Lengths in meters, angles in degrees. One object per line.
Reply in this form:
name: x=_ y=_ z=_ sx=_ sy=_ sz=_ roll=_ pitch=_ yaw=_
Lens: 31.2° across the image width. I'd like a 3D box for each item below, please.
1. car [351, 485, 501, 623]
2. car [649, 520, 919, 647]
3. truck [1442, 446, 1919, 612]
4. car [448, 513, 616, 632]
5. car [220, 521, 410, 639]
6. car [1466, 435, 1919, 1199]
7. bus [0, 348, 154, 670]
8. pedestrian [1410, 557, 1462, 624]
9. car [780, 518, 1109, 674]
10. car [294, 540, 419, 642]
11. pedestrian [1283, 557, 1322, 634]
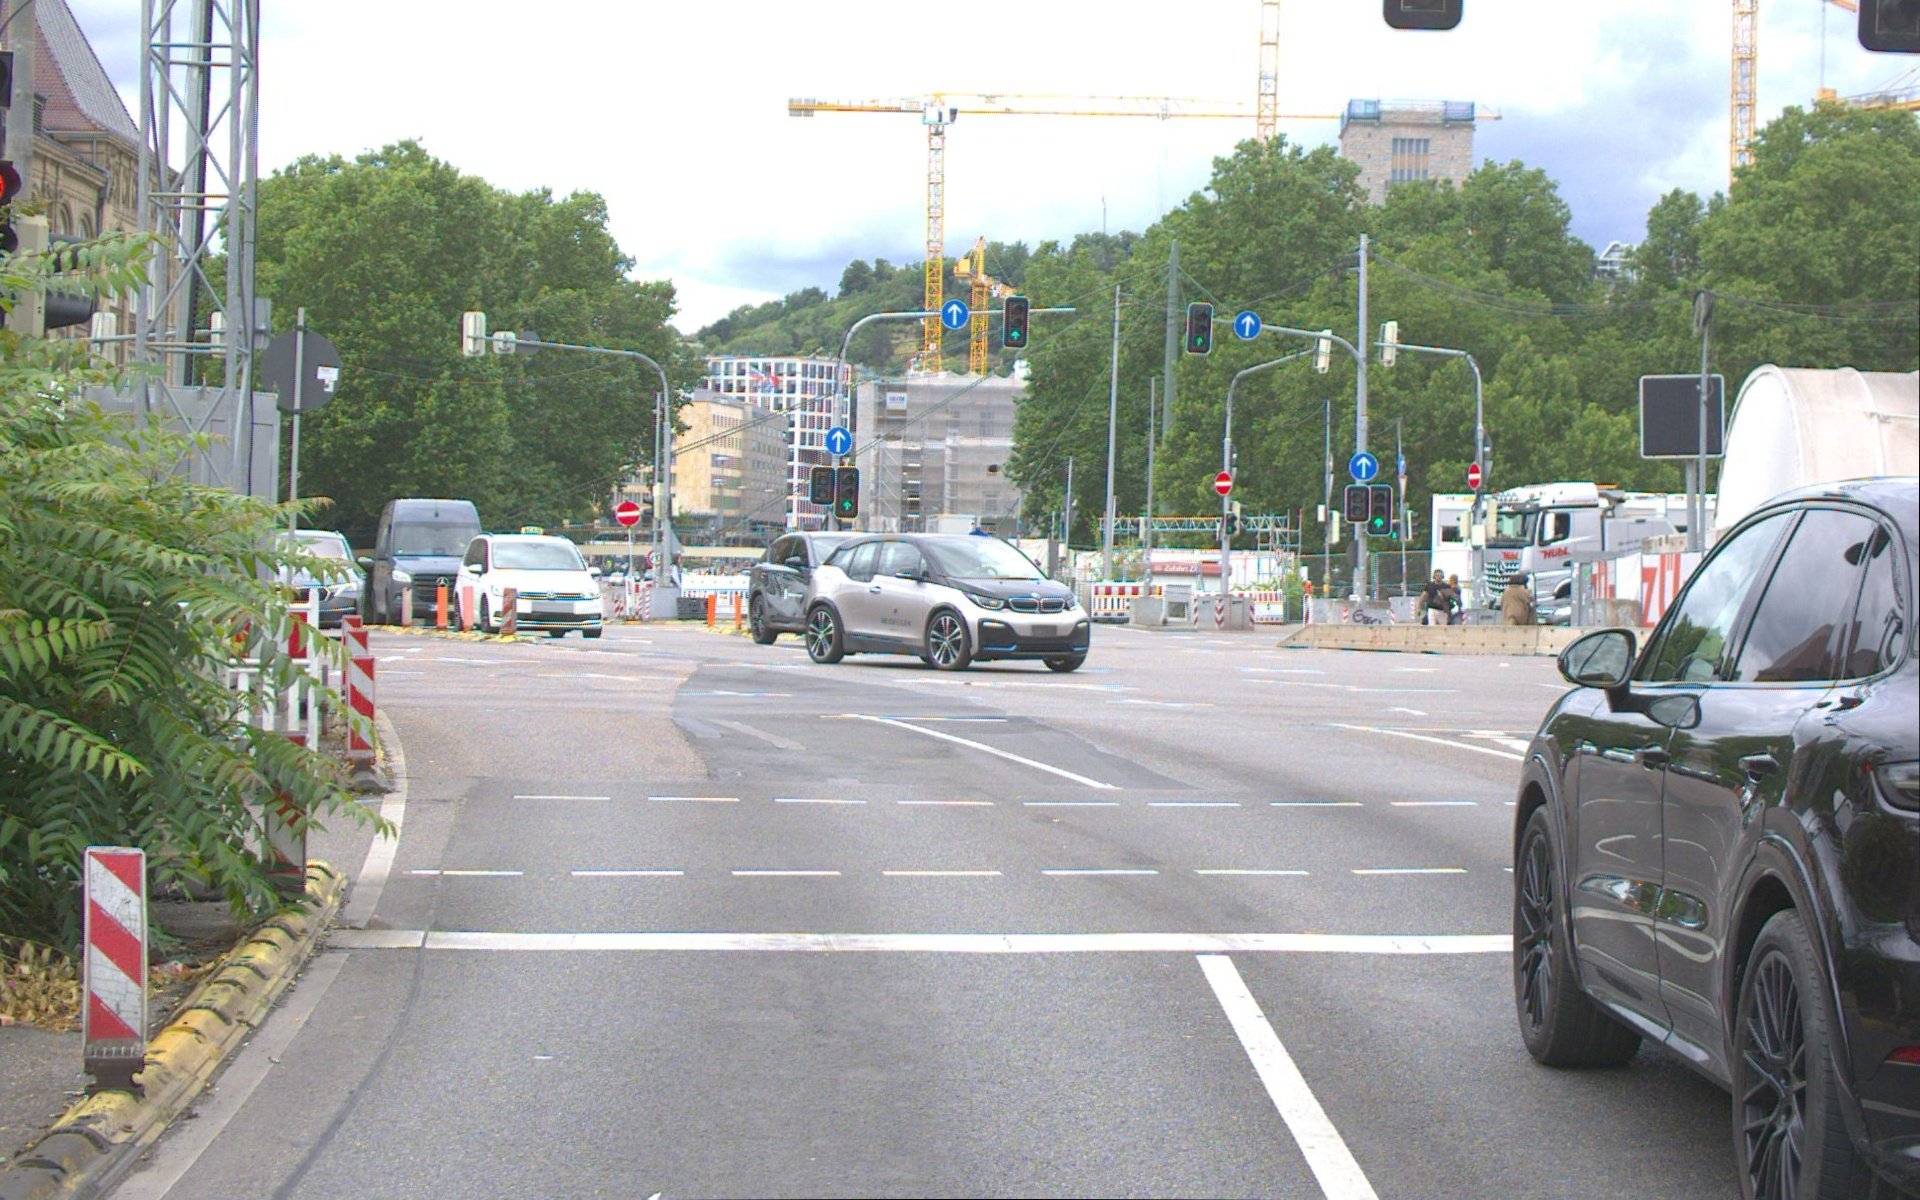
car: x=-10.662 y=-0.943 z=68.317 sx=2.056 sy=2.585 sz=6.016 roll=1 pitch=1 yaw=-17
car: x=-2.576 y=-0.260 z=49.247 sx=1.878 sy=1.664 sz=4.610 roll=1 pitch=1 yaw=-31
truck: x=19.516 y=-1.828 z=90.908 sx=13.022 sy=4.027 sz=3.952 roll=1 pitch=1 yaw=-21
car: x=-6.747 y=-0.457 z=53.826 sx=1.877 sy=1.730 sz=4.446 roll=1 pitch=1 yaw=-17
car: x=-8.624 y=-0.307 z=46.308 sx=1.878 sy=1.467 sz=4.445 roll=2 pitch=1 yaw=-3
car: x=2.588 y=0.536 z=8.295 sx=1.955 sy=1.680 sz=4.635 roll=2 pitch=1 yaw=-1
bus: x=-10.656 y=-0.920 z=33.887 sx=2.846 sy=3.103 sz=9.121 roll=2 pitch=1 yaw=3
pedestrian: x=9.945 y=-0.203 z=71.817 sx=0.796 sy=1.373 sz=0.905 roll=1 pitch=1 yaw=-11
car: x=-0.233 y=-0.074 z=39.981 sx=1.795 sy=1.662 sz=4.066 roll=1 pitch=1 yaw=-35
car: x=-10.743 y=-0.185 z=61.018 sx=1.877 sy=1.664 sz=4.446 roll=1 pitch=1 yaw=-14
pedestrian: x=7.585 y=-0.102 z=76.064 sx=0.729 sy=1.683 sz=0.678 roll=2 pitch=1 yaw=-2
